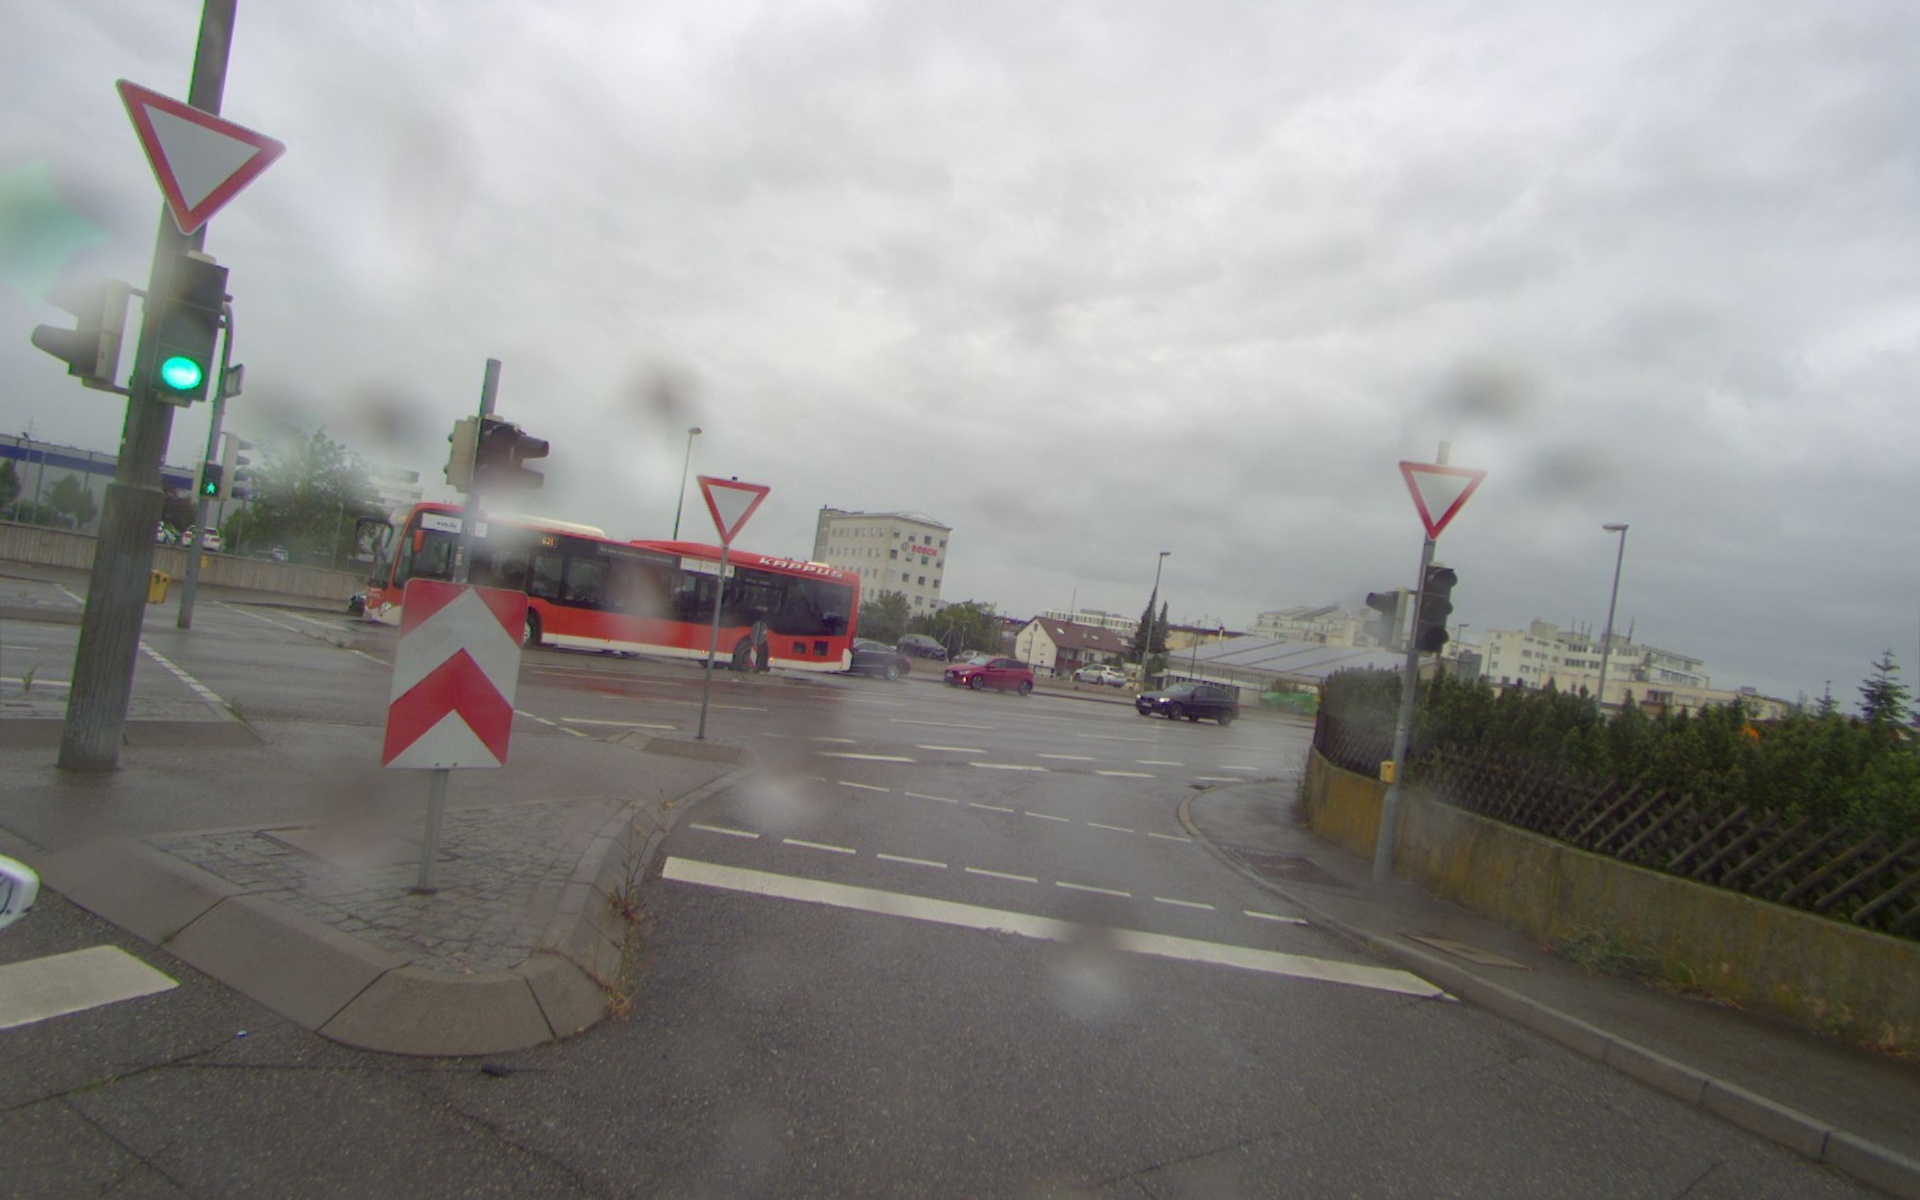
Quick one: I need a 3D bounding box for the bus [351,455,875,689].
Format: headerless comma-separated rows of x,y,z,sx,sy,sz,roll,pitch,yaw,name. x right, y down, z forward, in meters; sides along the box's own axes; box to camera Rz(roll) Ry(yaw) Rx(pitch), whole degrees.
-8.121,-0.303,25.791,12.222,3.614,2.953,12,-4,-41,bus

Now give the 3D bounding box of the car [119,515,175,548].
-45.512,-3.808,56.389,1.805,1.450,4.071,8,-2,-32,car

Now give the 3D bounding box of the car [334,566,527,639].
-14.742,0.087,28.158,4.367,1.370,1.804,10,-3,-42,car

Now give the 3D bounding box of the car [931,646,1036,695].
0.990,2.956,41.930,3.948,1.525,1.853,9,-2,-36,car

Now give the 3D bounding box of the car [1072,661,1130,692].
9.790,5.291,70.056,1.976,1.561,3.977,9,-2,-25,car

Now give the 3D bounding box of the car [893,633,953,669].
-2.289,3.116,61.674,1.912,1.684,3.869,9,-2,-29,car

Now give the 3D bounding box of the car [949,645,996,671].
1.048,4.825,83.431,1.980,1.636,3.970,9,-2,-30,car

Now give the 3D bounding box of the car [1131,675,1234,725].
8.719,3.918,39.271,3.974,1.515,1.832,9,-3,-41,car

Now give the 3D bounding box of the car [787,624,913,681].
-4.085,1.999,37.900,4.367,1.555,1.804,10,-3,-42,car

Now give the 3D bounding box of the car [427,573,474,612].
-31.068,-0.482,61.278,1.734,2.037,3.786,8,-2,-37,car

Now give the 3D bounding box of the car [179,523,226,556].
-43.724,-3.460,58.157,1.847,1.543,4.066,8,-2,-35,car

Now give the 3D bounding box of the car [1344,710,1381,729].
41.023,12.166,102.436,3.615,1.436,1.720,10,-2,-36,car
